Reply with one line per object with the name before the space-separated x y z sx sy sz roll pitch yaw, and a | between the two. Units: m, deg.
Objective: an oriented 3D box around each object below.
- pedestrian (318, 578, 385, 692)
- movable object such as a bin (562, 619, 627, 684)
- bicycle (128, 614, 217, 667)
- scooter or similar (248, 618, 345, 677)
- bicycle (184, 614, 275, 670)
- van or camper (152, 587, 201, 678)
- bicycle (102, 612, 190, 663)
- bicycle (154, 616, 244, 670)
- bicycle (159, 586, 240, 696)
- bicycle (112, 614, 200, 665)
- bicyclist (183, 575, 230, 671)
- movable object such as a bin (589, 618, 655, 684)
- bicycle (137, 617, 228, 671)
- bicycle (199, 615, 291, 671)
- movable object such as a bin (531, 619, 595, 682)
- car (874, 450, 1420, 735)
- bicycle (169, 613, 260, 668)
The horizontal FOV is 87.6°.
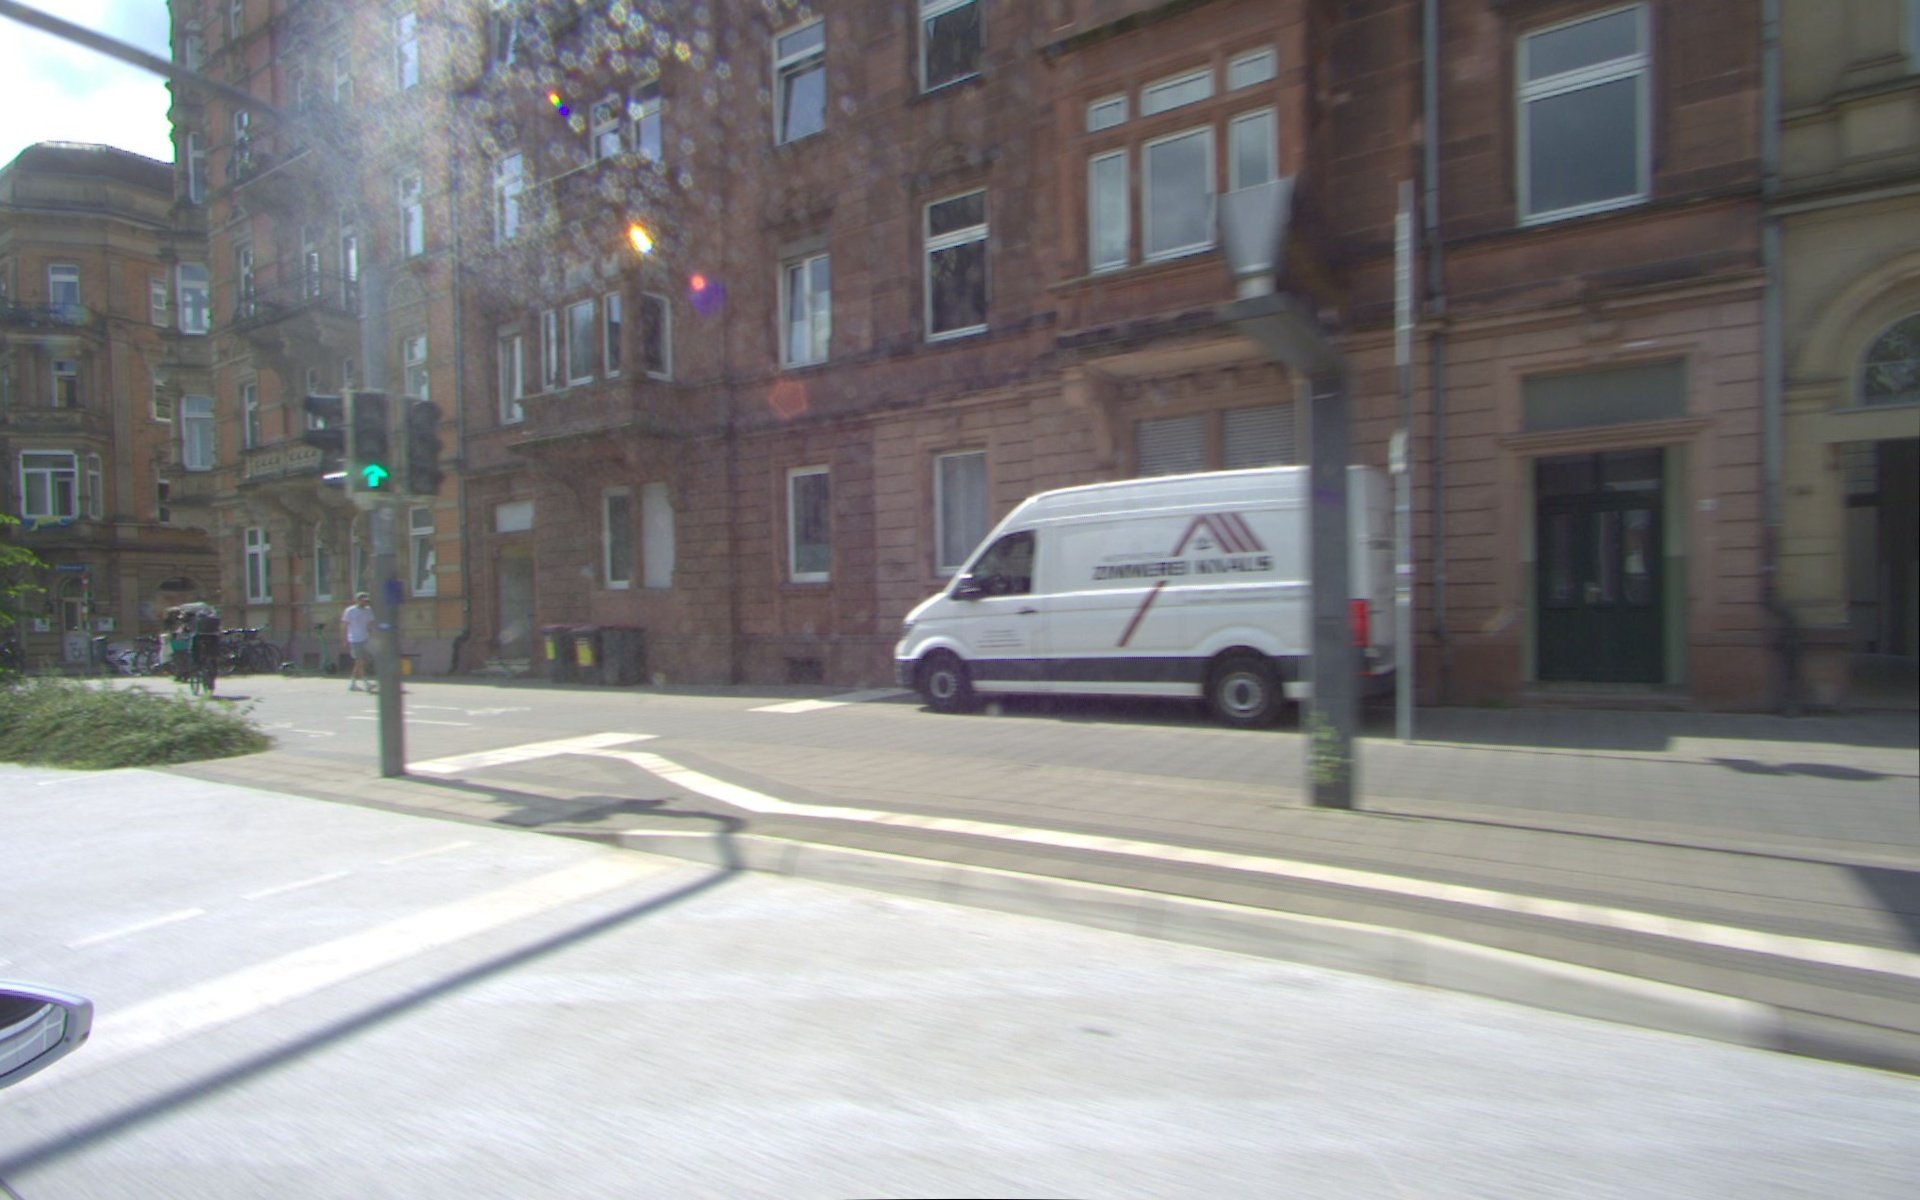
pedestrian | -11.141 0.625 18.333 0.705 2.041 0.766 -1 1 33
movable object such as a bin | -6.634 0.916 18.167 0.765 1.122 0.784 -1 1 31
bicycle | -20.367 1.024 25.930 0.460 1.285 1.763 2 2 36
scooter or similar | -15.137 1.066 22.885 0.460 1.201 1.764 -1 2 32
bicycle | -17.885 1.007 24.549 0.460 1.285 1.740 2 2 36
van or camper | -17.994 0.740 23.008 0.629 2.041 0.664 -1 1 33
bicycle | -21.764 0.989 26.814 0.460 1.285 1.763 2 2 36
bicycle | -19.146 1.054 25.231 0.460 1.285 1.763 2 2 36
bicycle | -14.090 0.737 18.541 1.567 1.951 0.681 -1 1 34
bicycle | -21.243 1.022 26.489 0.460 1.285 1.763 2 2 36
bicyclist | -13.991 0.424 18.602 0.816 1.741 0.426 0 1 34
movable object such as a bin | -6.000 0.894 17.775 0.765 1.122 0.784 -1 1 31
bicycle | -19.852 1.096 25.598 0.460 1.285 1.763 2 2 36
bicycle | -17.343 1.026 24.332 0.460 1.285 1.763 2 2 36
movable object such as a bin | -7.383 0.929 18.631 0.765 1.122 0.784 -1 1 31
car | 1.938 -0.031 11.409 5.805 2.559 1.989 -1 0 33
bicycle | -18.480 0.993 24.857 0.460 1.285 1.763 2 2 36
